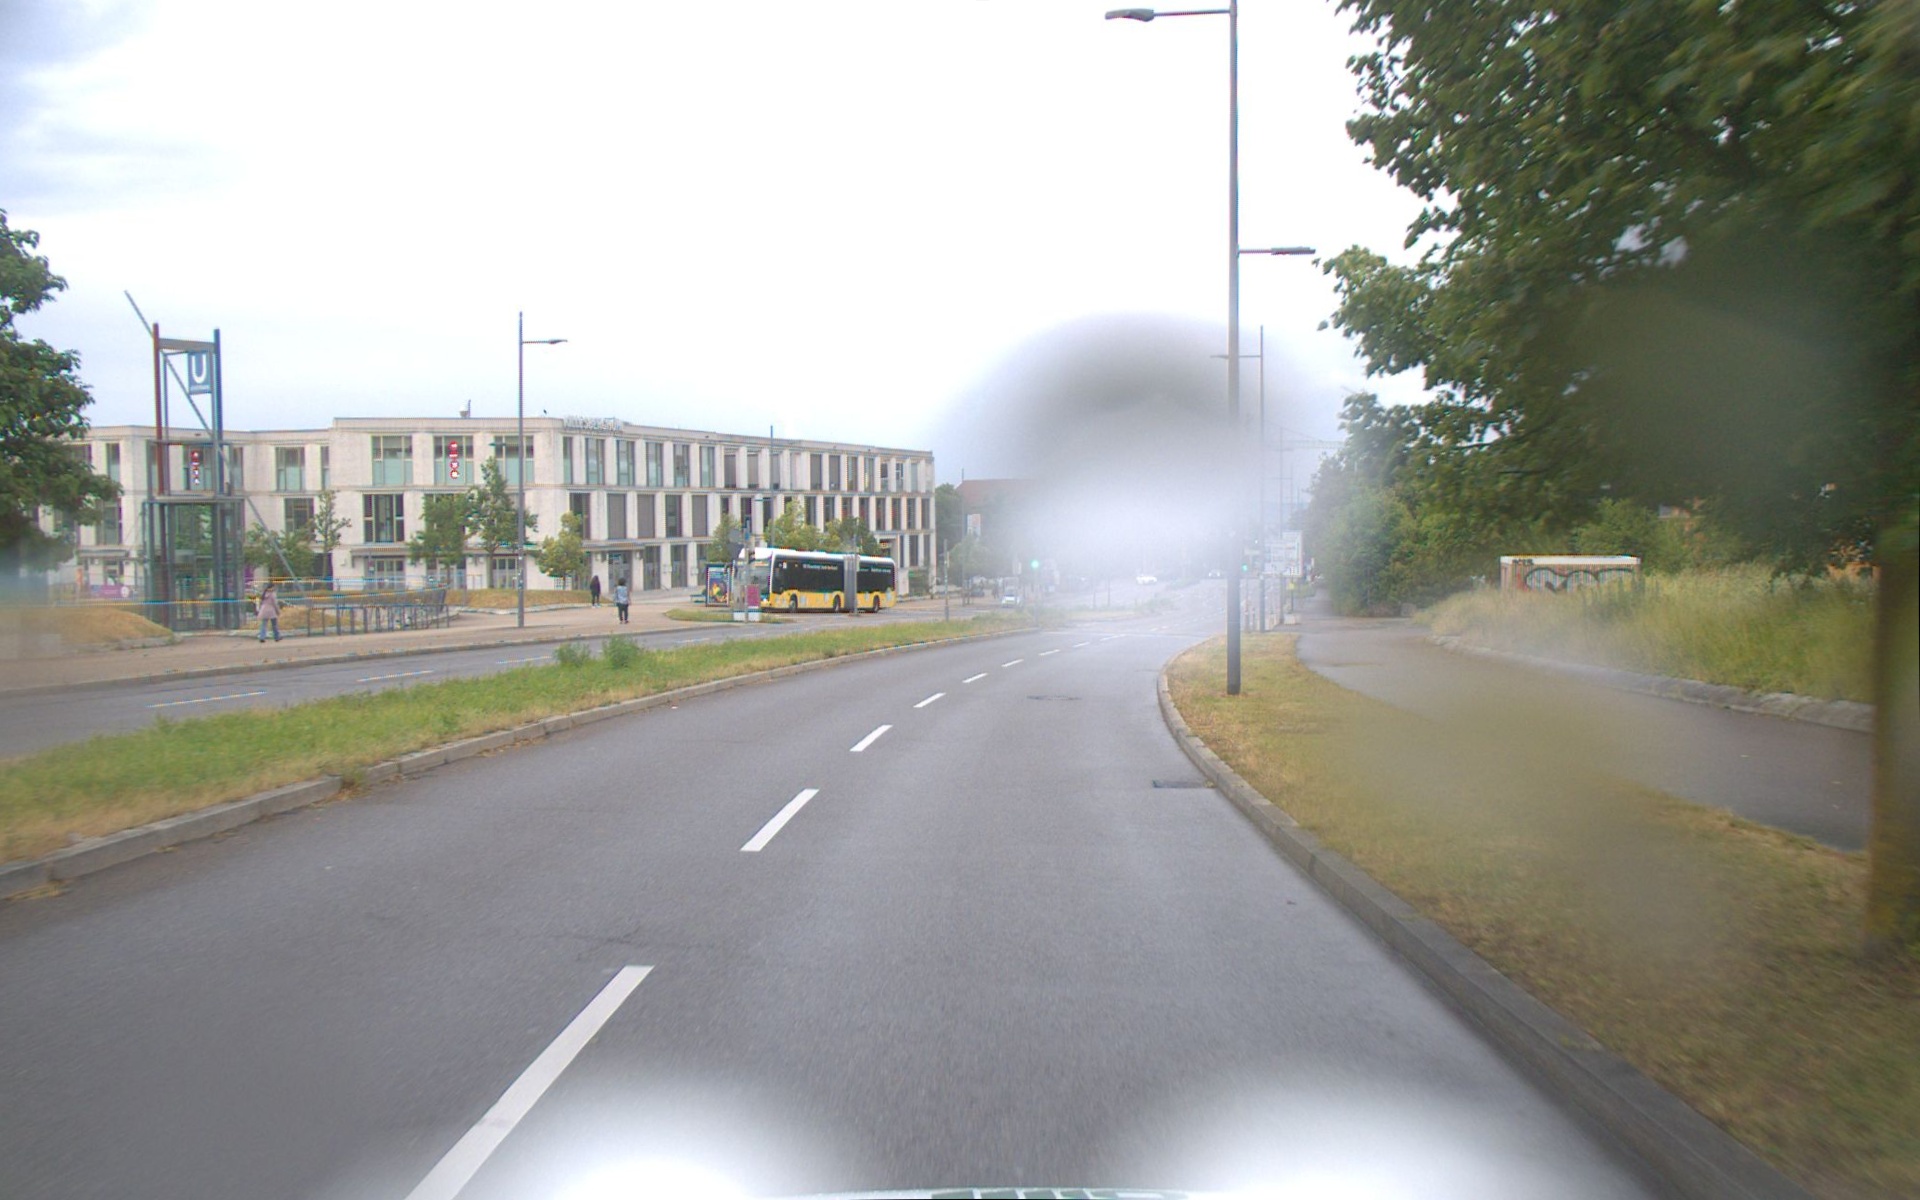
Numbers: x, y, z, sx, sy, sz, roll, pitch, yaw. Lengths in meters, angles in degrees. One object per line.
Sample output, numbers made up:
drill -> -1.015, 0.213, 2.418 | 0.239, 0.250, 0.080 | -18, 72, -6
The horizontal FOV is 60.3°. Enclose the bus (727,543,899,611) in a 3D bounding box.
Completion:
bus -> -8.121, -1.146, 96.025 | 2.727, 3.416, 18.230 | 0, -1, 19

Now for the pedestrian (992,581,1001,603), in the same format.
pedestrian -> 3.364, -0.745, 153.021 | 0.734, 1.981, 0.837 | 0, -1, -6

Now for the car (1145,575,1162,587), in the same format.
car -> 26.166, -2.544, 223.707 | 1.732, 1.520, 4.070 | 0, -1, 16

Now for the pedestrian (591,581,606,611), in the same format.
pedestrian -> -18.594, -0.190, 85.063 | 0.669, 1.551, 0.718 | 0, -1, -6

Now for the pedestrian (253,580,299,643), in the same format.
pedestrian -> -18.155, 0.303, 43.916 | 0.796, 1.649, 0.936 | 0, -1, 5

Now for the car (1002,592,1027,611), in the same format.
car -> 4.483, 0.148, 136.615 | 1.447, 1.520, 2.531 | 0, -1, 17

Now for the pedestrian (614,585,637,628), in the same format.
pedestrian -> -12.444, 0.250, 61.455 | 0.819, 1.601, 0.717 | 0, -1, -12
